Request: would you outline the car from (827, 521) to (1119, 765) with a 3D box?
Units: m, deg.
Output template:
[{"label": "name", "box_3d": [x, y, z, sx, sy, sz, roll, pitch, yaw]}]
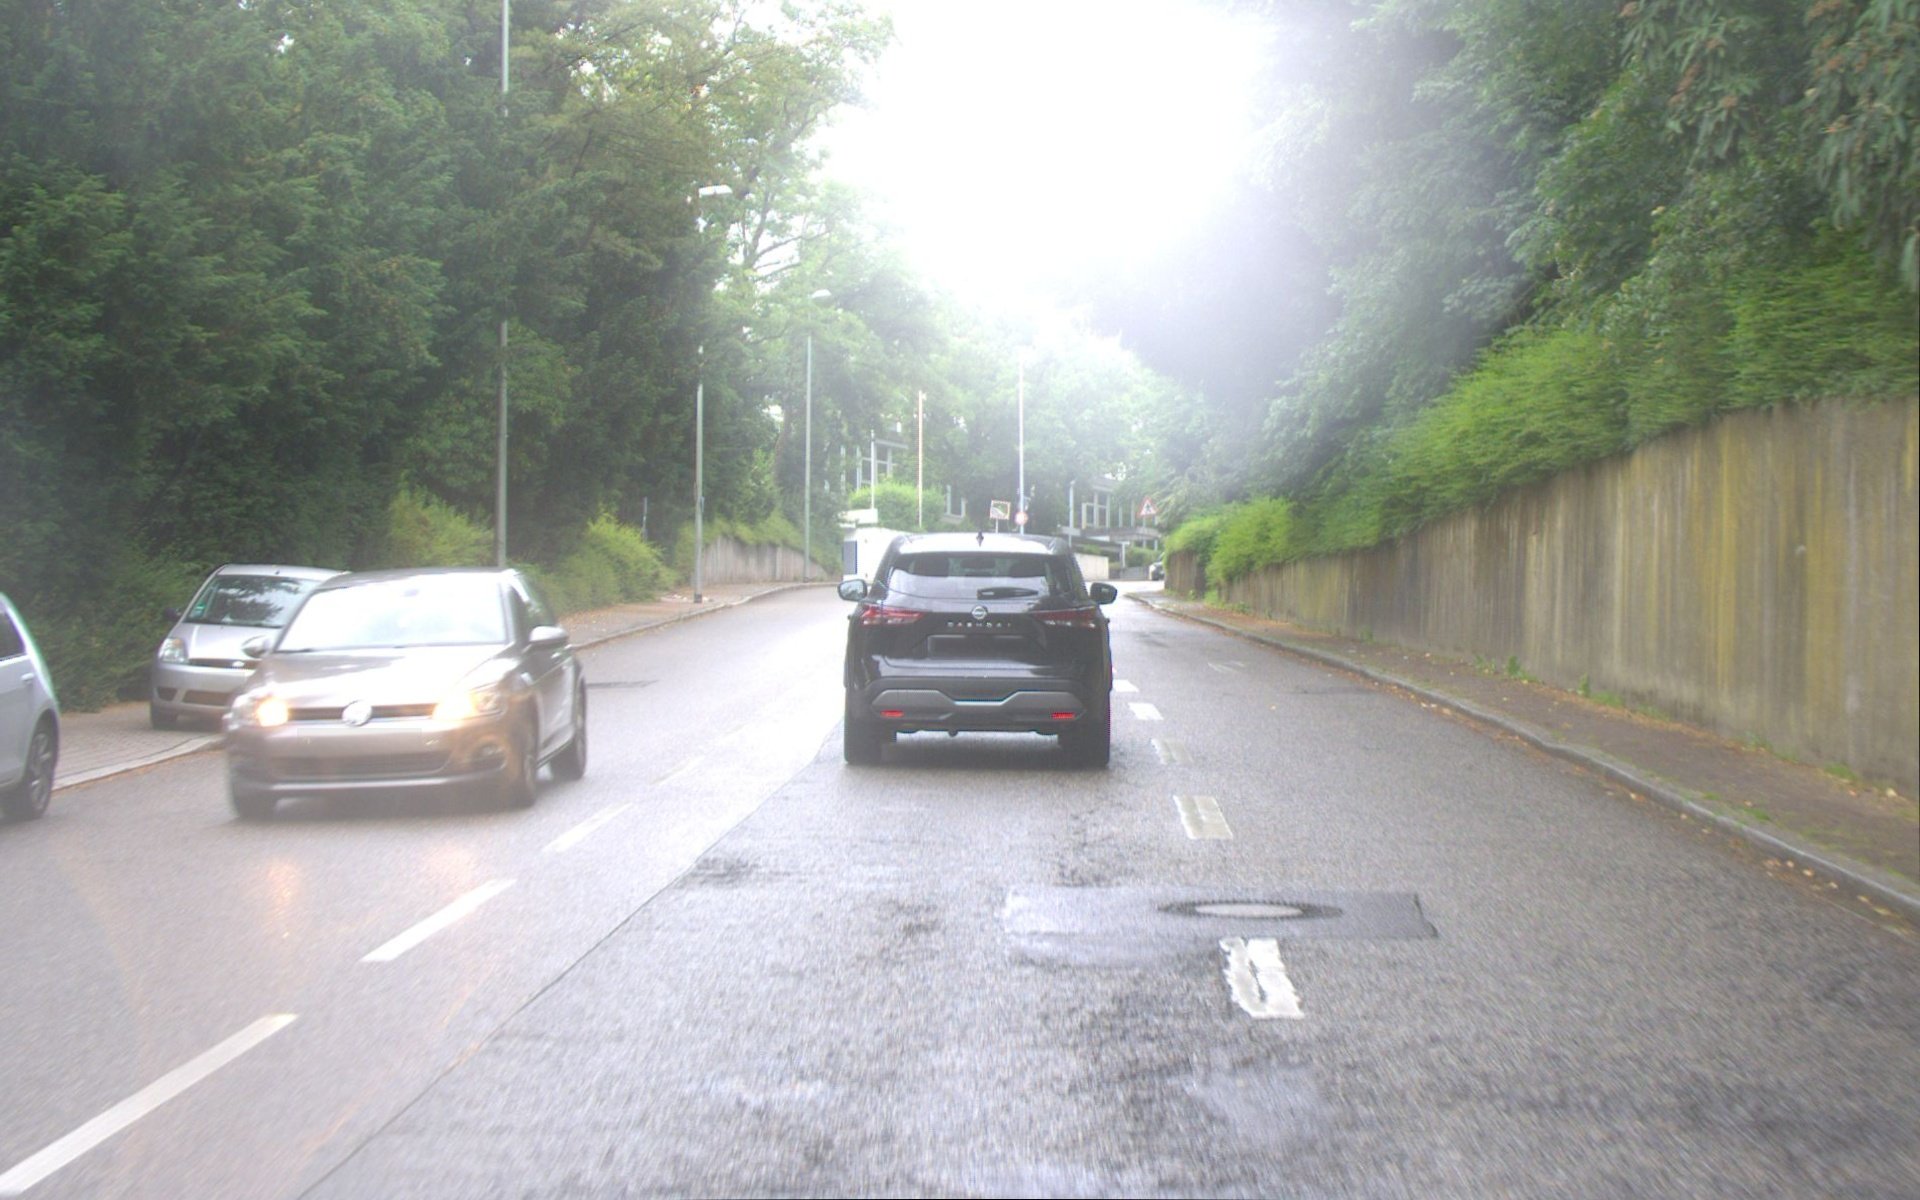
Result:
[{"label": "car", "box_3d": [0.098, 0.246, 24.732, 1.928, 1.607, 4.000, 0, 1, 0]}]

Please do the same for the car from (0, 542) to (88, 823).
[{"label": "car", "box_3d": [-6.478, 0.521, 19.451, 1.886, 1.606, 4.239, -3, 1, 1]}]

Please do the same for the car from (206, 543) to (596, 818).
[{"label": "car", "box_3d": [-3.361, 0.420, 21.381, 1.761, 1.486, 4.000, -2, 1, 0]}]

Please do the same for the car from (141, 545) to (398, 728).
[{"label": "car", "box_3d": [-6.172, 0.280, 31.106, 1.626, 1.494, 3.929, 2, 1, -2]}]
